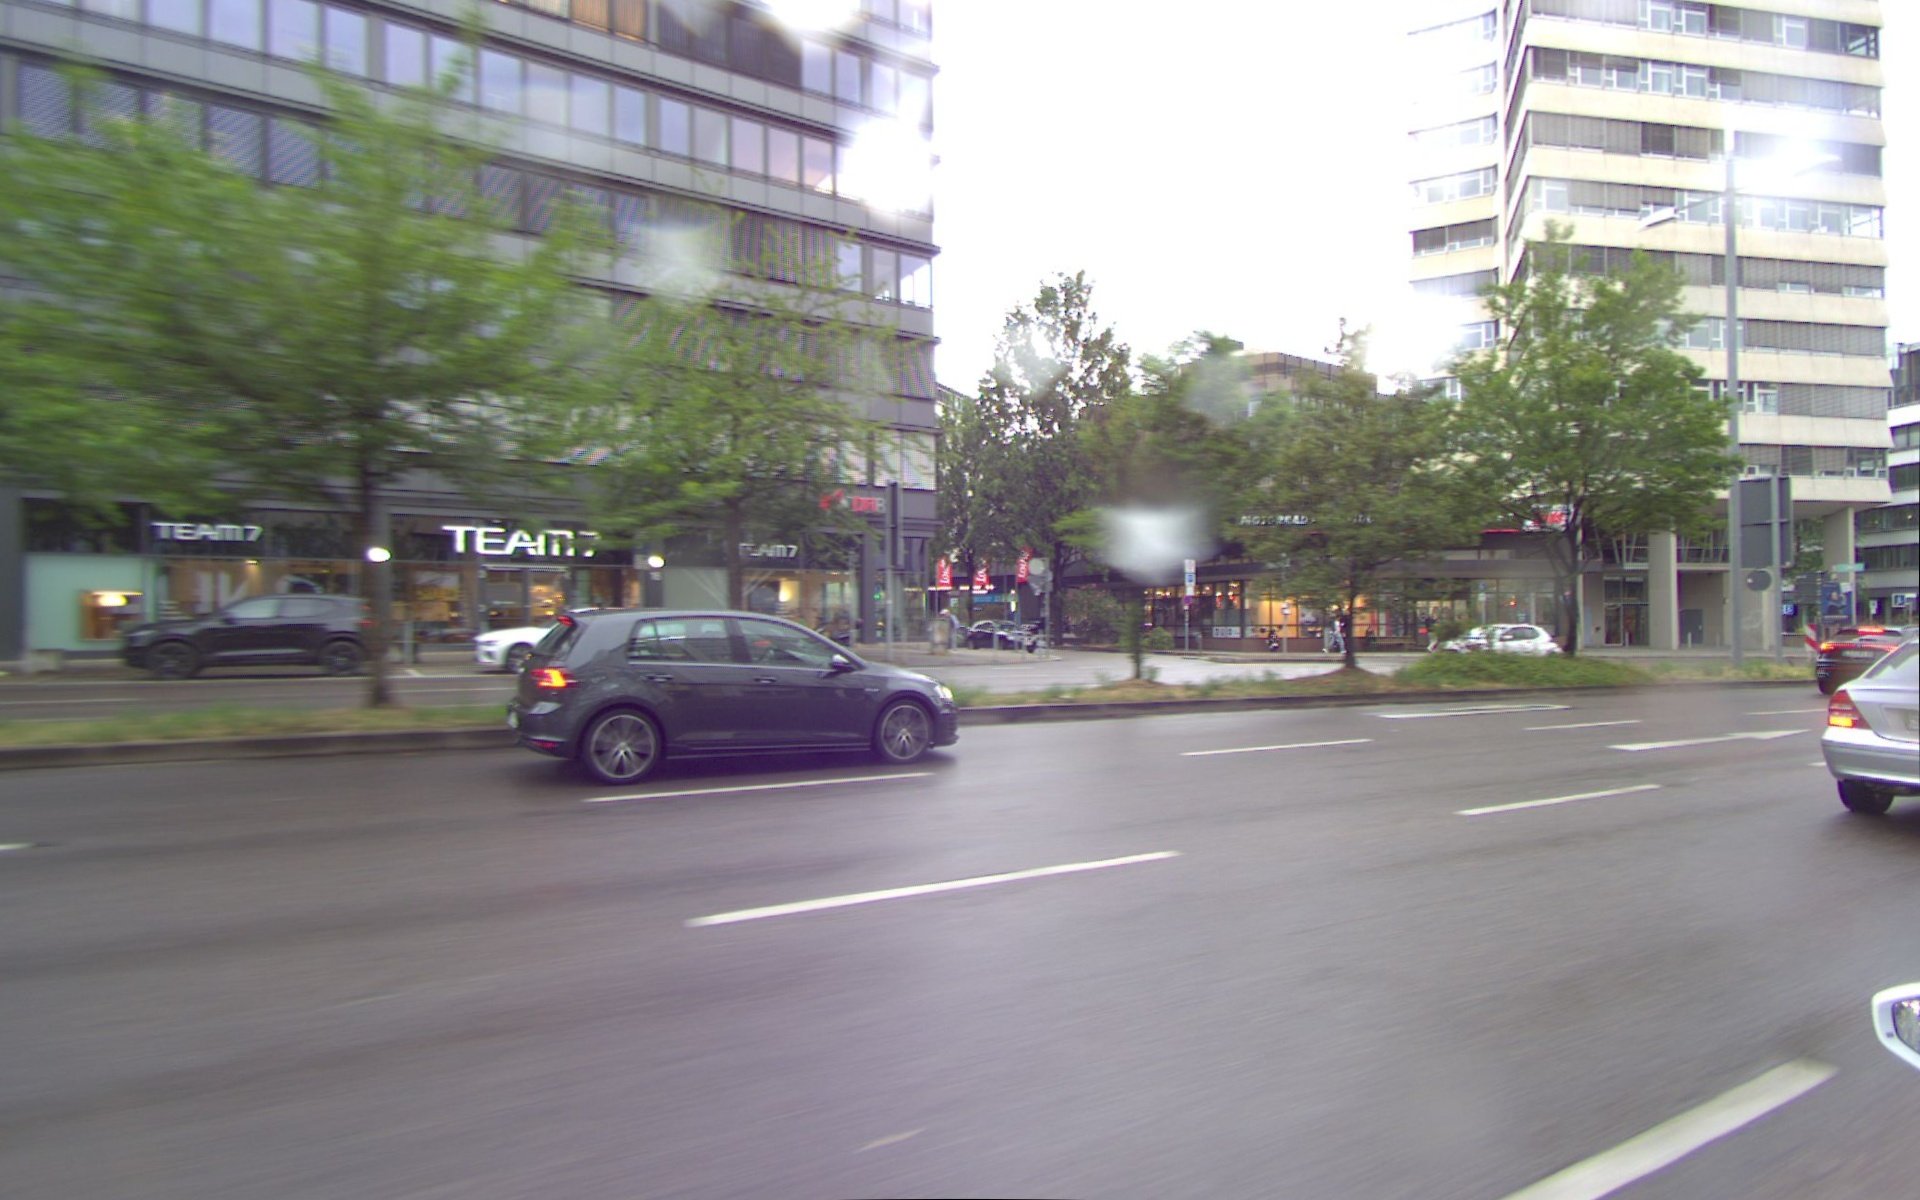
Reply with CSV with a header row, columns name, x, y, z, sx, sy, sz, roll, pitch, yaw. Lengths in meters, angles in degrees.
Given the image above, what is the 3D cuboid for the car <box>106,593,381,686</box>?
name,x,y,z,sx,sy,sz,roll,pitch,yaw
car,-14.030,0.760,20.021,4.259,1.683,1.800,2,0,-30

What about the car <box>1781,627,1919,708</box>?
name,x,y,z,sx,sy,sz,roll,pitch,yaw
car,20.194,1.406,21.784,4.422,1.564,1.988,1,-1,-25

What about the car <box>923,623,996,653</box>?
name,x,y,z,sx,sy,sz,roll,pitch,yaw
car,-0.067,1.885,49.859,1.826,1.305,3.967,2,-1,-30

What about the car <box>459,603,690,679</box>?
name,x,y,z,sx,sy,sz,roll,pitch,yaw
car,-8.850,0.926,23.192,4.719,1.505,1.799,2,2,-32

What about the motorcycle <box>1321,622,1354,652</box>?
name,x,y,z,sx,sy,sz,roll,pitch,yaw
motorcycle,18.530,1.798,49.371,0.788,1.392,2.894,2,0,6

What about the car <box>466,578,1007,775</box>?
name,x,y,z,sx,sy,sz,roll,pitch,yaw
car,-1.993,0.653,9.462,4.634,1.470,1.830,2,-1,-31

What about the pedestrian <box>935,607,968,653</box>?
name,x,y,z,sx,sy,sz,roll,pitch,yaw
pedestrian,-0.315,1.115,37.050,0.955,1.659,0.779,1,-1,-32

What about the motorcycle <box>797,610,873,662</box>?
name,x,y,z,sx,sy,sz,roll,pitch,yaw
motorcycle,-3.620,1.046,29.349,0.845,1.412,2.364,4,1,32

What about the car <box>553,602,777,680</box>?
name,x,y,z,sx,sy,sz,roll,pitch,yaw
car,-6.201,0.843,21.235,4.252,1.495,1.799,1,-1,-31

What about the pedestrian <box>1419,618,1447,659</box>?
name,x,y,z,sx,sy,sz,roll,pitch,yaw
pedestrian,22.032,1.793,46.787,0.908,1.857,0.728,1,-1,-11

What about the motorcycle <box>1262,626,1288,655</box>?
name,x,y,z,sx,sy,sz,roll,pitch,yaw
motorcycle,15.607,1.984,49.807,0.709,1.351,2.822,2,0,7

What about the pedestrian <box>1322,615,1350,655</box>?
name,x,y,z,sx,sy,sz,roll,pitch,yaw
pedestrian,17.549,1.627,46.915,0.908,1.857,0.818,1,-1,-11

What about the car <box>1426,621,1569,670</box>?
name,x,y,z,sx,sy,sz,roll,pitch,yaw
car,16.845,1.429,31.505,4.020,1.450,1.680,1,-1,-20

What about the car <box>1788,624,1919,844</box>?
name,x,y,z,sx,sy,sz,roll,pitch,yaw
car,8.461,0.974,7.935,4.148,1.505,1.674,1,-1,-31

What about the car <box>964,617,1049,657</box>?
name,x,y,z,sx,sy,sz,roll,pitch,yaw
car,2.056,1.662,45.545,1.977,1.662,3.967,2,-1,-31
